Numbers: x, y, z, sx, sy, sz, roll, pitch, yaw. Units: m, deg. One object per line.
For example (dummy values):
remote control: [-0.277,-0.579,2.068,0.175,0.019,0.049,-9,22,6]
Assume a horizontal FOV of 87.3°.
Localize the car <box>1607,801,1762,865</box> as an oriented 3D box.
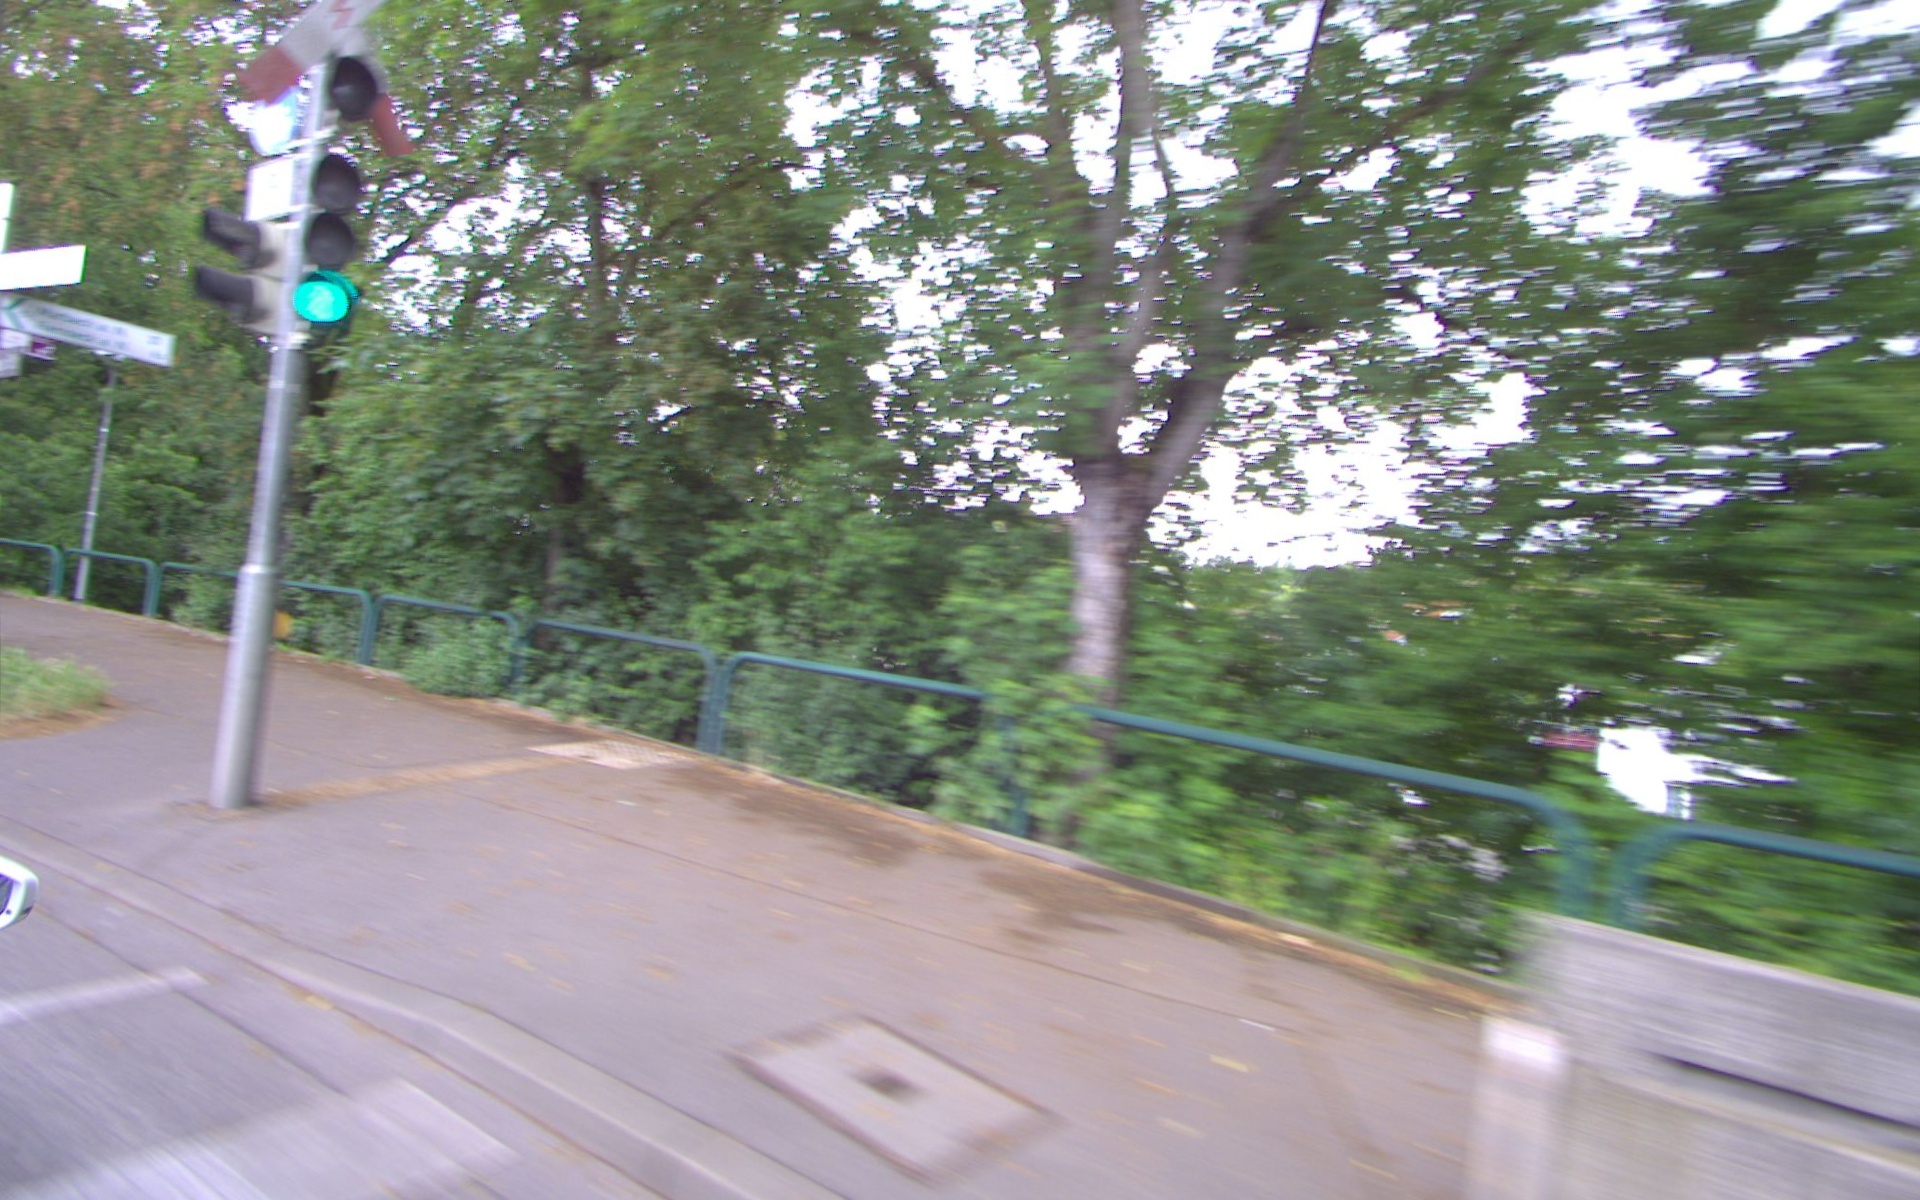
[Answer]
car: [21.776,7.005,30.359,1.676,1.142,3.365,6,-1,-23]
